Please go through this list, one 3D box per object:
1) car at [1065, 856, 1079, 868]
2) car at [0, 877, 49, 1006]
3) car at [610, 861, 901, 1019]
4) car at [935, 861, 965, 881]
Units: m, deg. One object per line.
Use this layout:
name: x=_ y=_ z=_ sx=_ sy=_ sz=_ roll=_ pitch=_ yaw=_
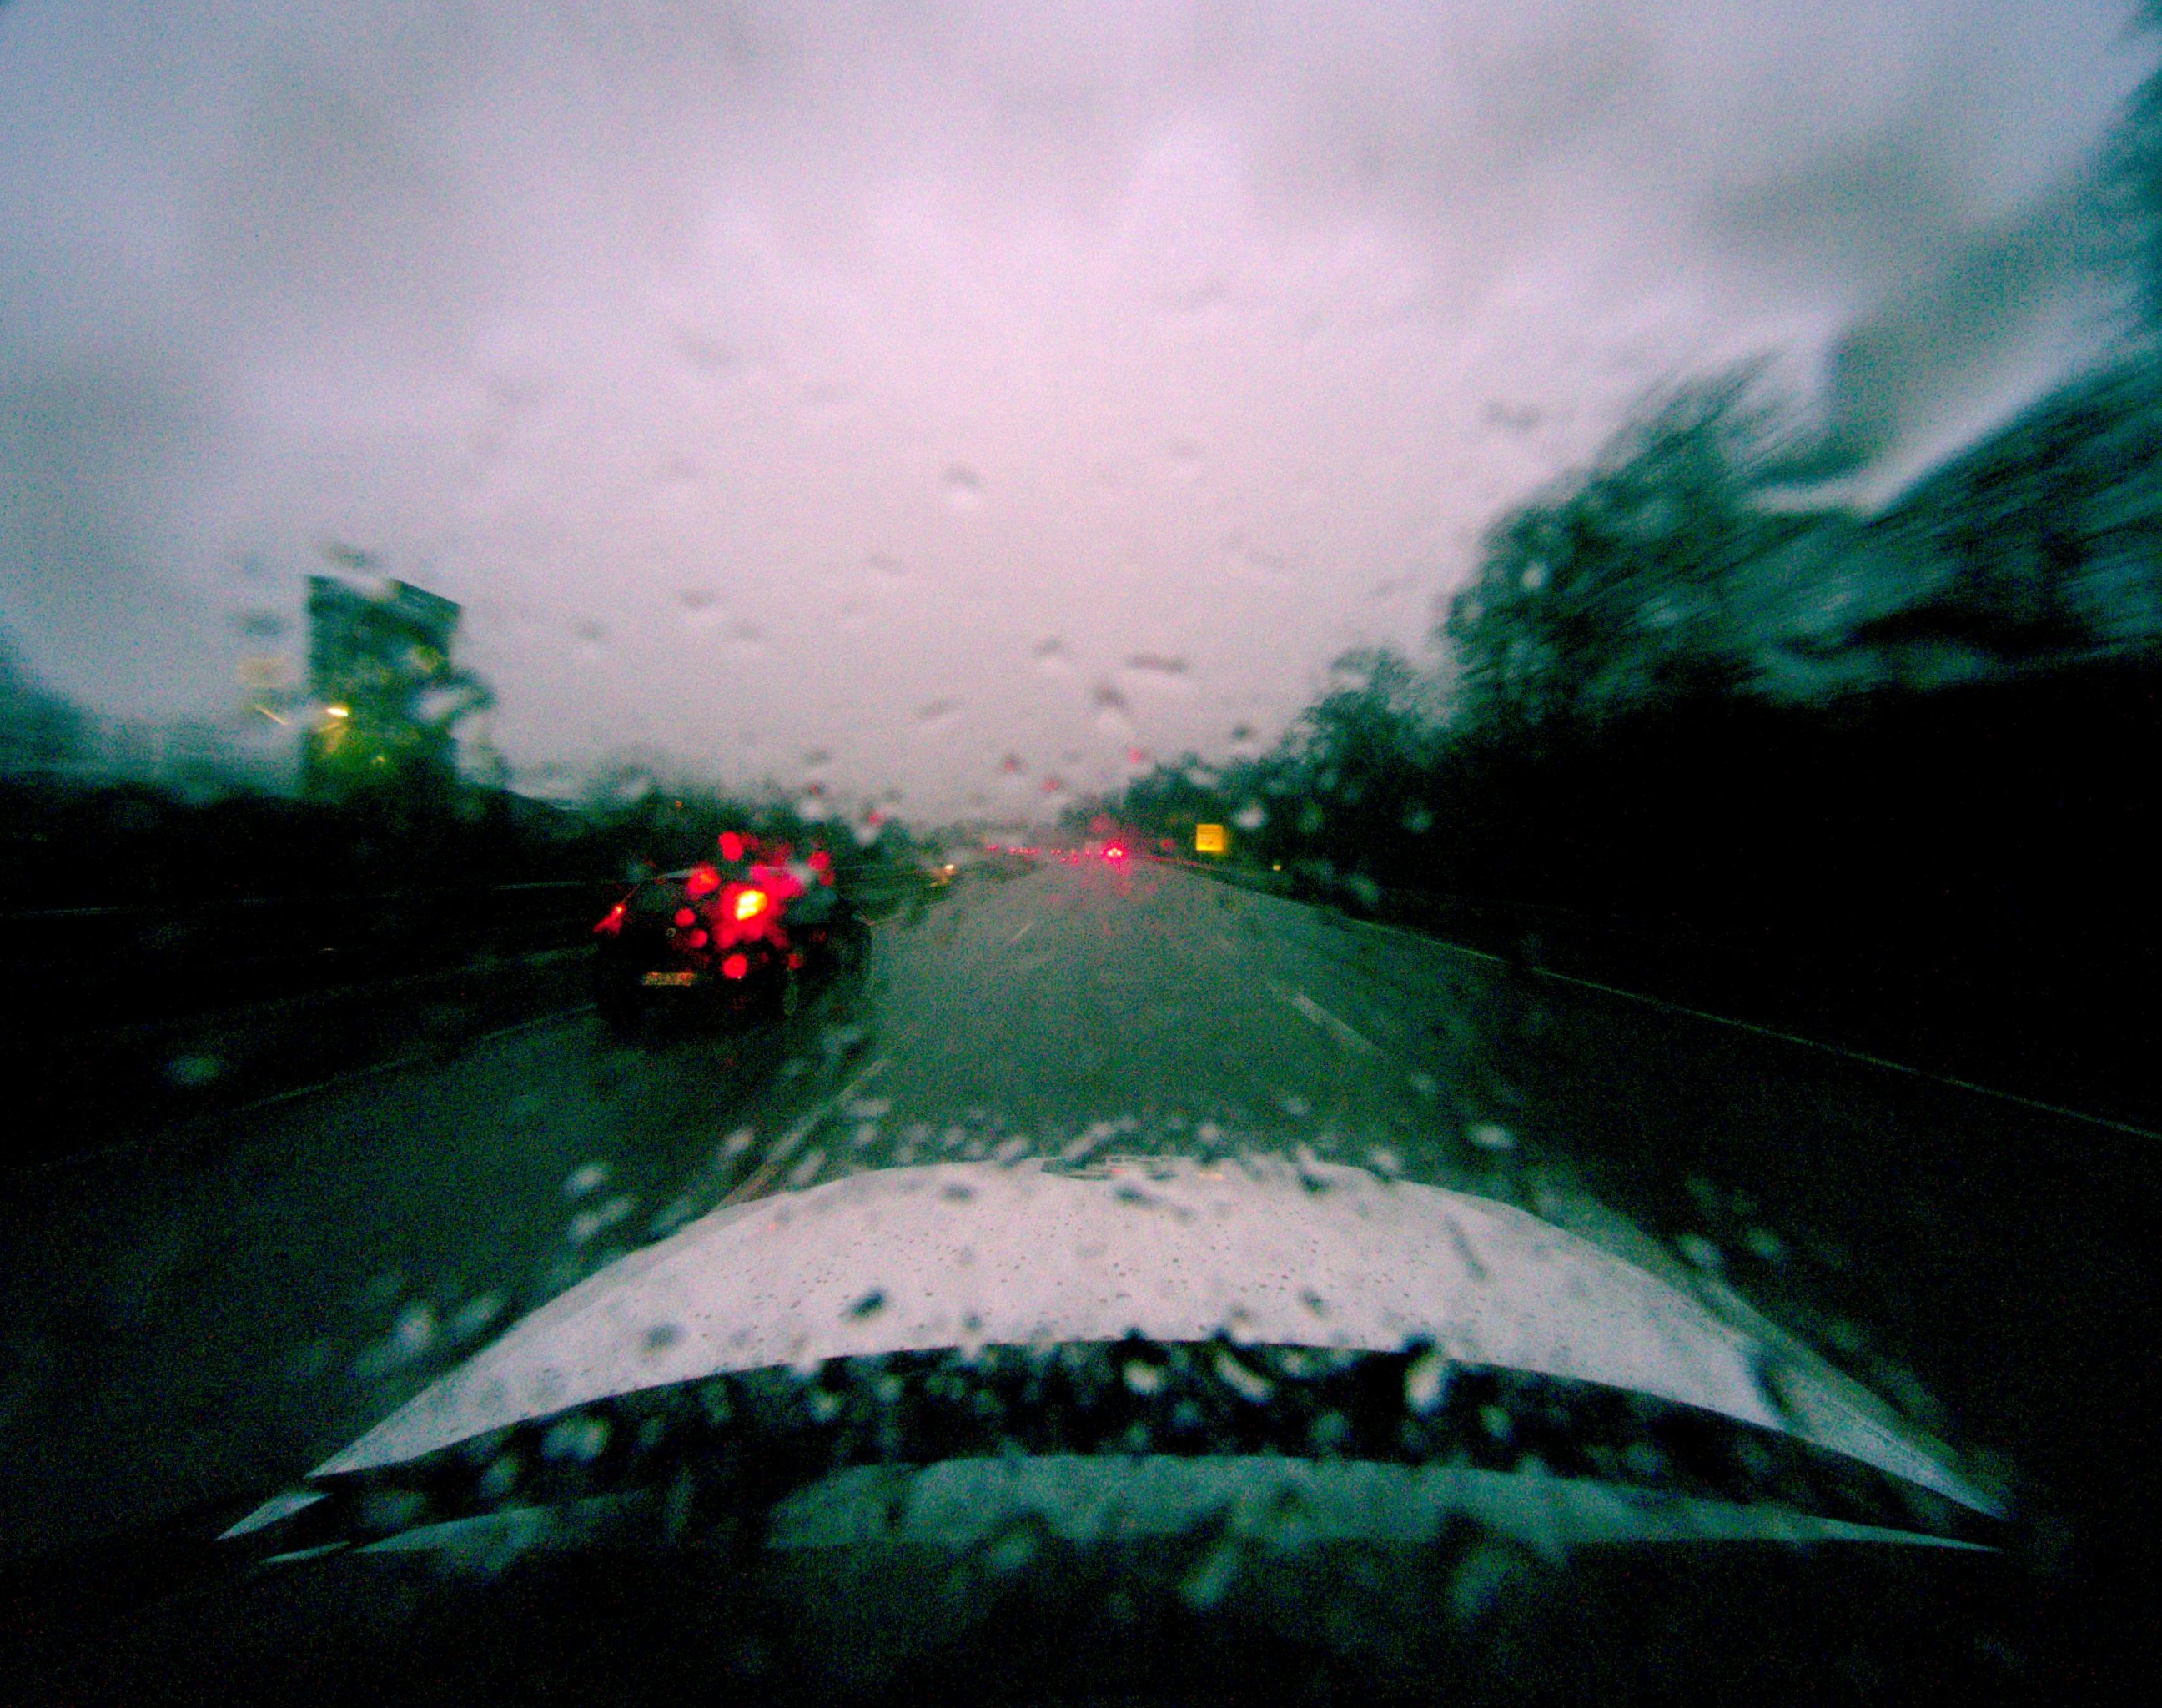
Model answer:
car: x=-0.997 y=0.842 z=90.912 sx=1.410 sy=1.317 sz=3.084 roll=1 pitch=0 yaw=2
car: x=-13.359 y=1.010 z=7.640 sx=1.696 sy=1.475 sz=4.368 roll=-1 pitch=0 yaw=2
car: x=-3.376 y=0.797 z=9.339 sx=1.620 sy=1.392 sz=4.000 roll=1 pitch=-1 yaw=1
car: x=-11.195 y=1.399 z=69.852 sx=1.757 sy=1.626 sz=4.527 roll=-1 pitch=0 yaw=1
